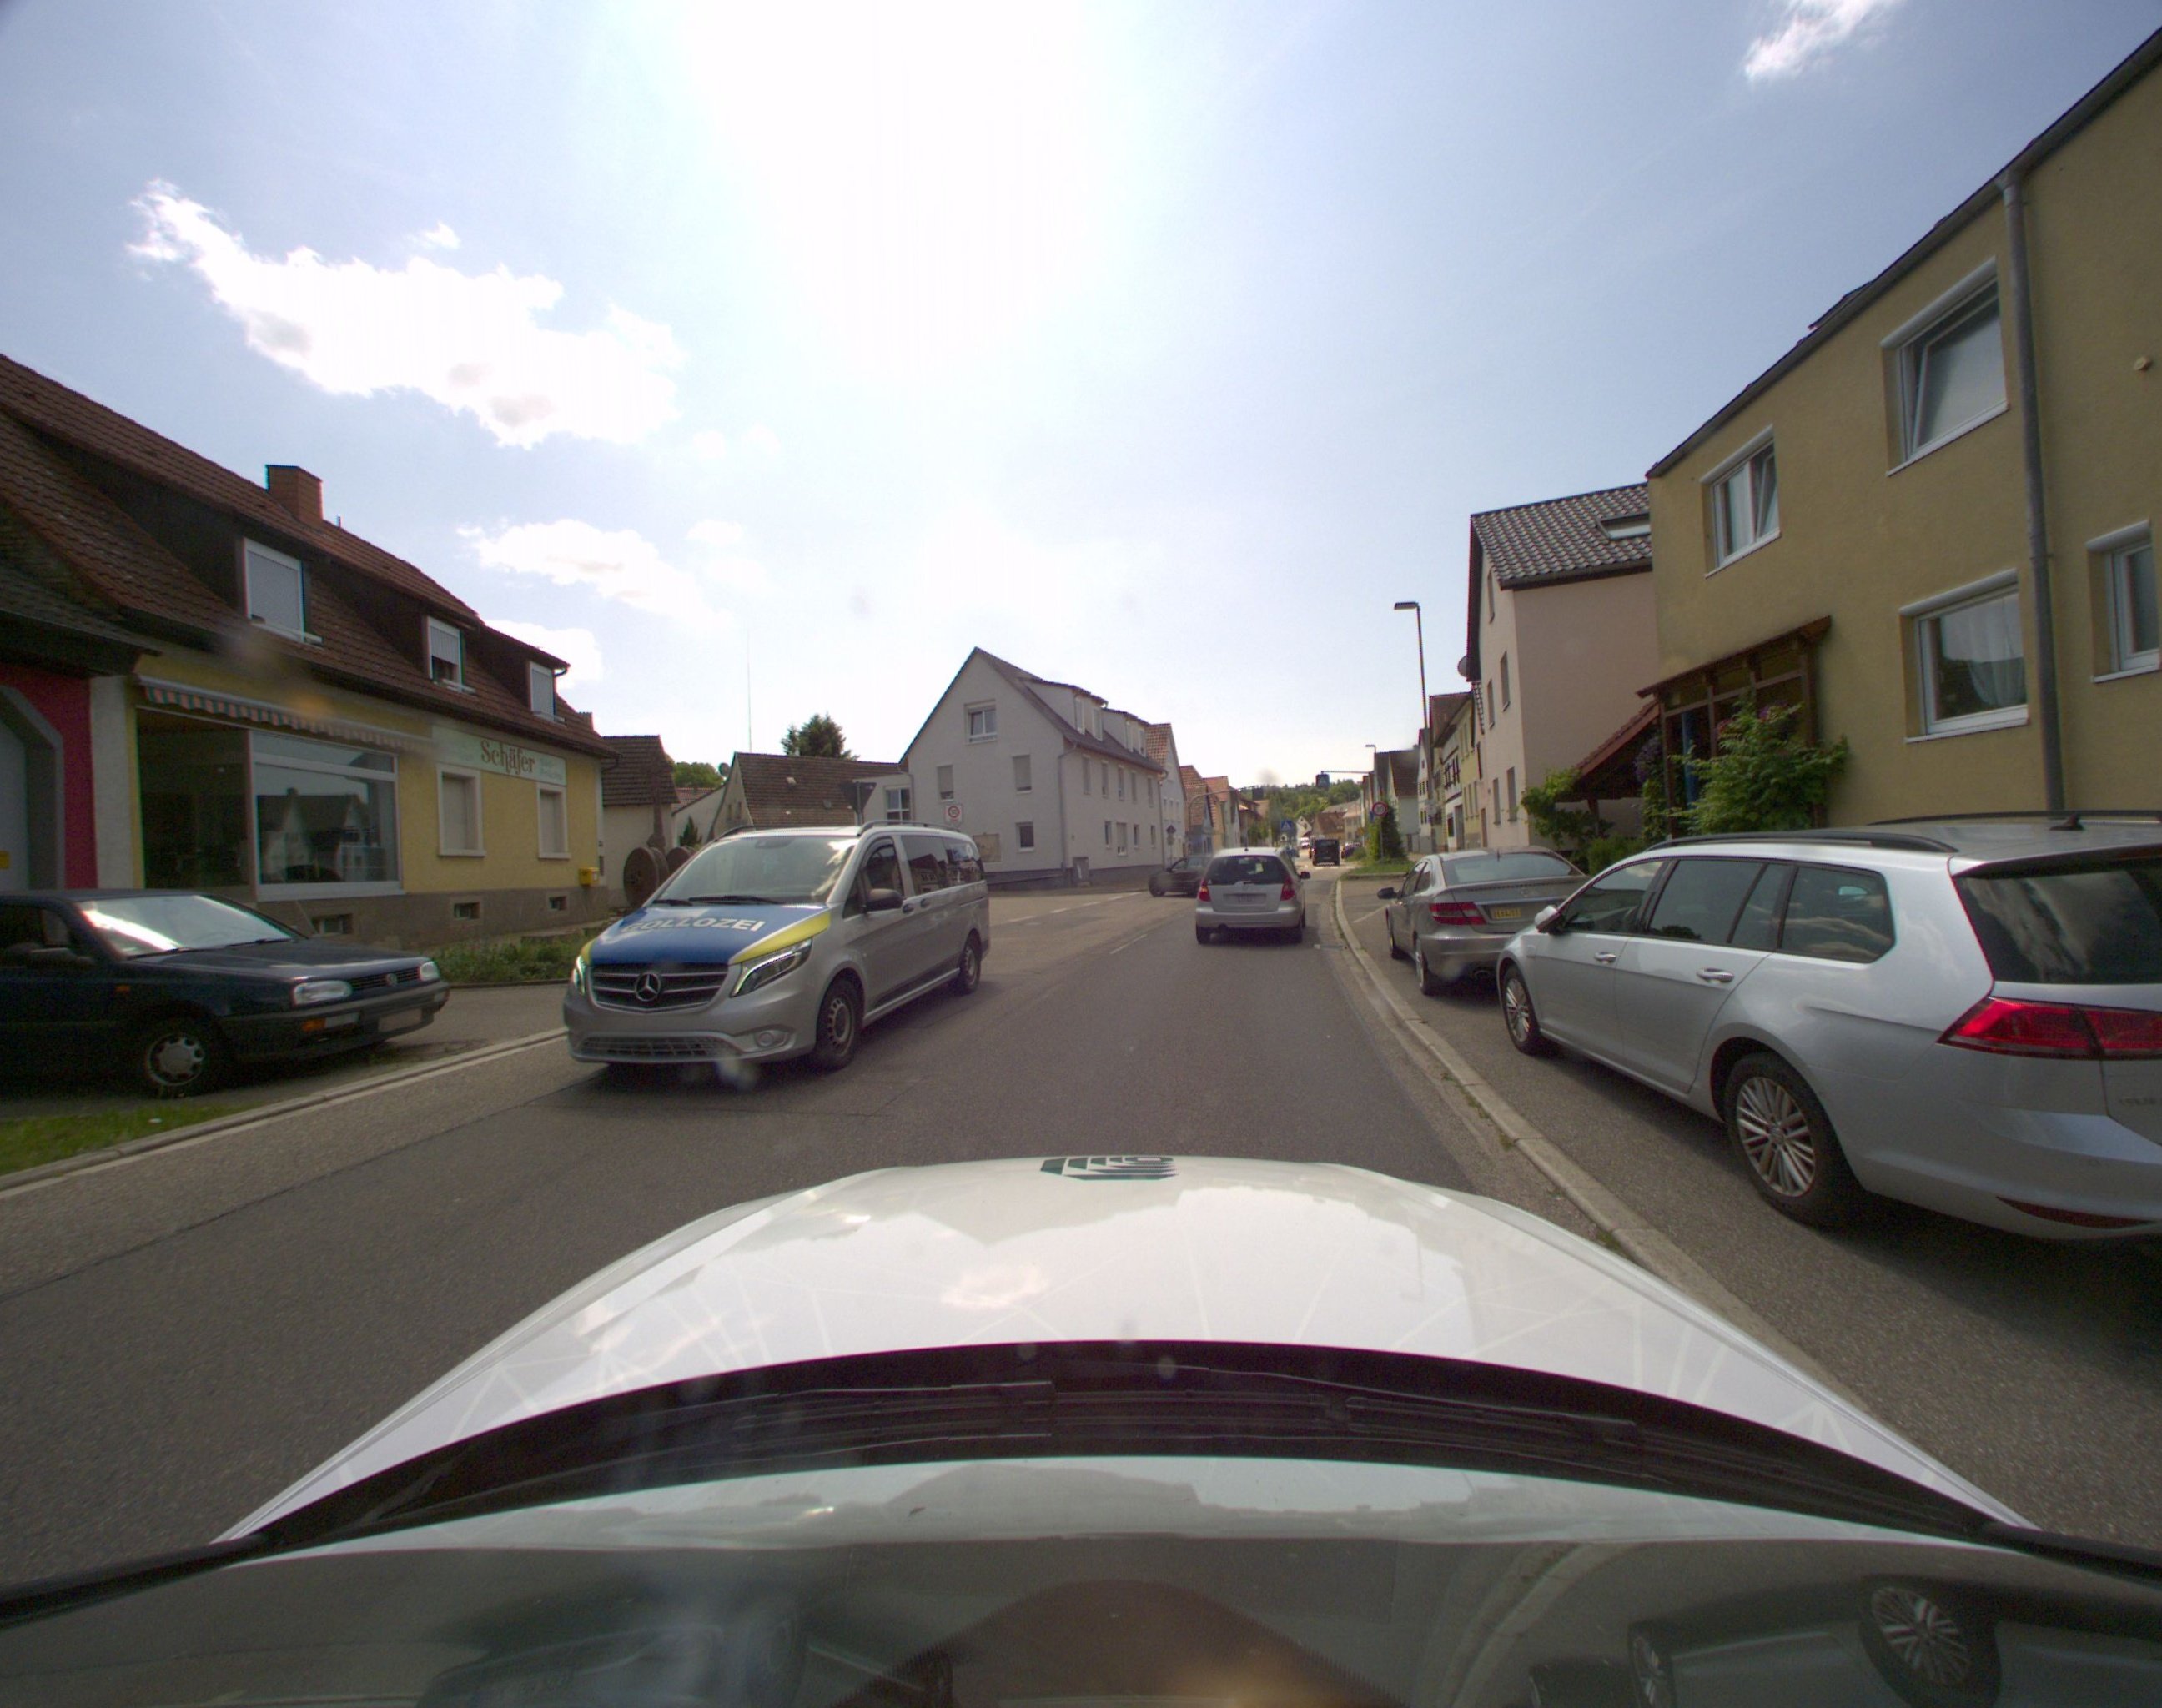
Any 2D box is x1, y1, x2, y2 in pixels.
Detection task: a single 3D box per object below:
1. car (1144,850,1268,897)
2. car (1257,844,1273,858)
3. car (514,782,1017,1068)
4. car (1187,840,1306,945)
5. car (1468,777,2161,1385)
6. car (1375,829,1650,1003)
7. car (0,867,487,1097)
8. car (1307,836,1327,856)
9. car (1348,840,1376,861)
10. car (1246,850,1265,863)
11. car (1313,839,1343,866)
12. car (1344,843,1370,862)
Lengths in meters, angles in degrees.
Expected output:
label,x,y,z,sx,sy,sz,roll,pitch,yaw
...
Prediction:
label,x,y,z,sx,sy,sz,roll,pitch,yaw
car,4.040,0.669,27.179,1.817,1.412,4.597,-1,-2,-25
car,23.587,-0.358,104.365,1.654,1.596,4.017,-2,-2,17
car,-2.342,0.535,7.768,1.980,1.800,4.953,-2,-2,13
car,3.139,0.619,14.857,1.797,1.643,3.745,-1,0,16
car,3.722,0.531,4.139,1.874,1.530,4.346,-5,-1,8
car,4.537,0.598,9.322,1.757,1.400,4.442,-6,-2,15
car,-7.233,0.883,6.239,3.963,1.464,1.717,-1,-1,-7
car,26.398,-0.848,90.983,1.978,2.014,4.017,-2,-2,17
car,22.928,-0.267,66.580,1.978,1.508,4.017,-2,-2,17
car,18.560,0.276,86.682,1.980,1.321,3.720,-2,-2,12
car,18.220,-0.101,60.281,1.978,1.816,4.016,-2,-2,16
car,24.835,-0.111,73.348,1.978,1.508,4.017,-2,-2,17
